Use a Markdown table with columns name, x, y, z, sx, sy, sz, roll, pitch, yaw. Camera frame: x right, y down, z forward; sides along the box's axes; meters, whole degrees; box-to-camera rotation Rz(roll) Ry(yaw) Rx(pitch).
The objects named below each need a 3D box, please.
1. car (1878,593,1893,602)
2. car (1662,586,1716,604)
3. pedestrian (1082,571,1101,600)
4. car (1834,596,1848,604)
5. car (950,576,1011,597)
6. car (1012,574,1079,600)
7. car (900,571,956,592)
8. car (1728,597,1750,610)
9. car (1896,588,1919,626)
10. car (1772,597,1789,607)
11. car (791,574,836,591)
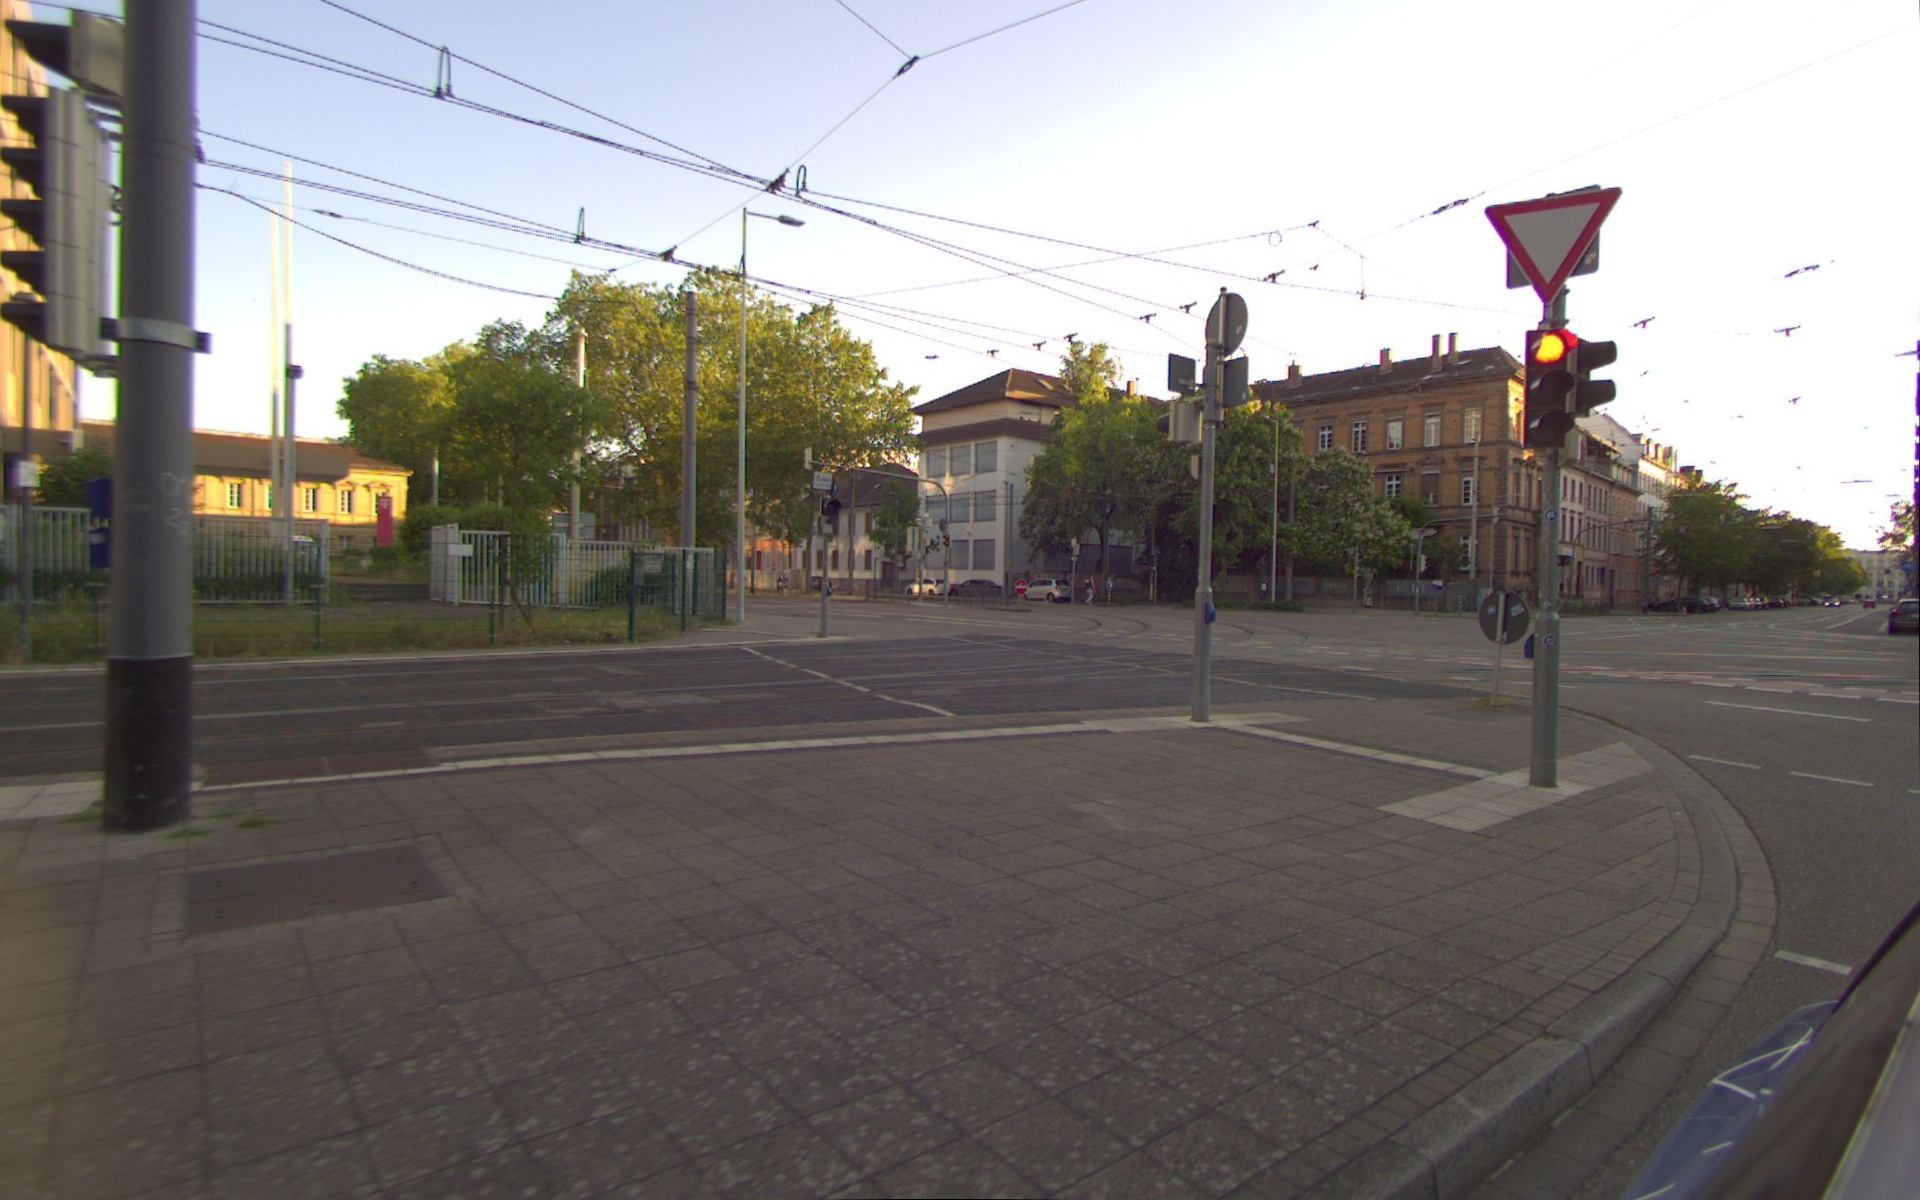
| name | x | y | z | sx | sy | sz | roll | pitch | yaw |
| --- | --- | --- | --- | --- | --- | --- | --- | --- | --- |
| car | 160.877 | -0.393 | 175.970 | 1.780 | 1.475 | 4.233 | 2 | 1 | 41 |
| car | 64.803 | -0.436 | 89.945 | 3.757 | 1.504 | 1.880 | 2 | 1 | 40 |
| pedestrian | 7.000 | -0.777 | 53.975 | 0.802 | 1.545 | 0.580 | 0 | 1 | -35 |
| car | 154.762 | -0.002 | 177.755 | 1.780 | 1.475 | 4.231 | 2 | 1 | 42 |
| car | 1.430 | -0.975 | 71.849 | 1.965 | 1.442 | 4.354 | 0 | 1 | -41 |
| car | 5.574 | -0.867 | 66.618 | 1.965 | 1.652 | 4.226 | 0 | 1 | -41 |
| car | -2.452 | -1.398 | 76.154 | 1.965 | 1.442 | 4.226 | 0 | 1 | -41 |
| car | 87.027 | 0.375 | 113.089 | 1.779 | 1.475 | 4.235 | 2 | 1 | 39 |
| car | 39.456 | 0.286 | 40.964 | 4.225 | 1.475 | 2.003 | 0 | 1 | -44 |
| car | 118.233 | 0.265 | 145.817 | 1.779 | 1.453 | 4.235 | 2 | 1 | 39 |
| car | -12.885 | -1.570 | 89.130 | 1.965 | 1.442 | 4.226 | 0 | 1 | -41 |
